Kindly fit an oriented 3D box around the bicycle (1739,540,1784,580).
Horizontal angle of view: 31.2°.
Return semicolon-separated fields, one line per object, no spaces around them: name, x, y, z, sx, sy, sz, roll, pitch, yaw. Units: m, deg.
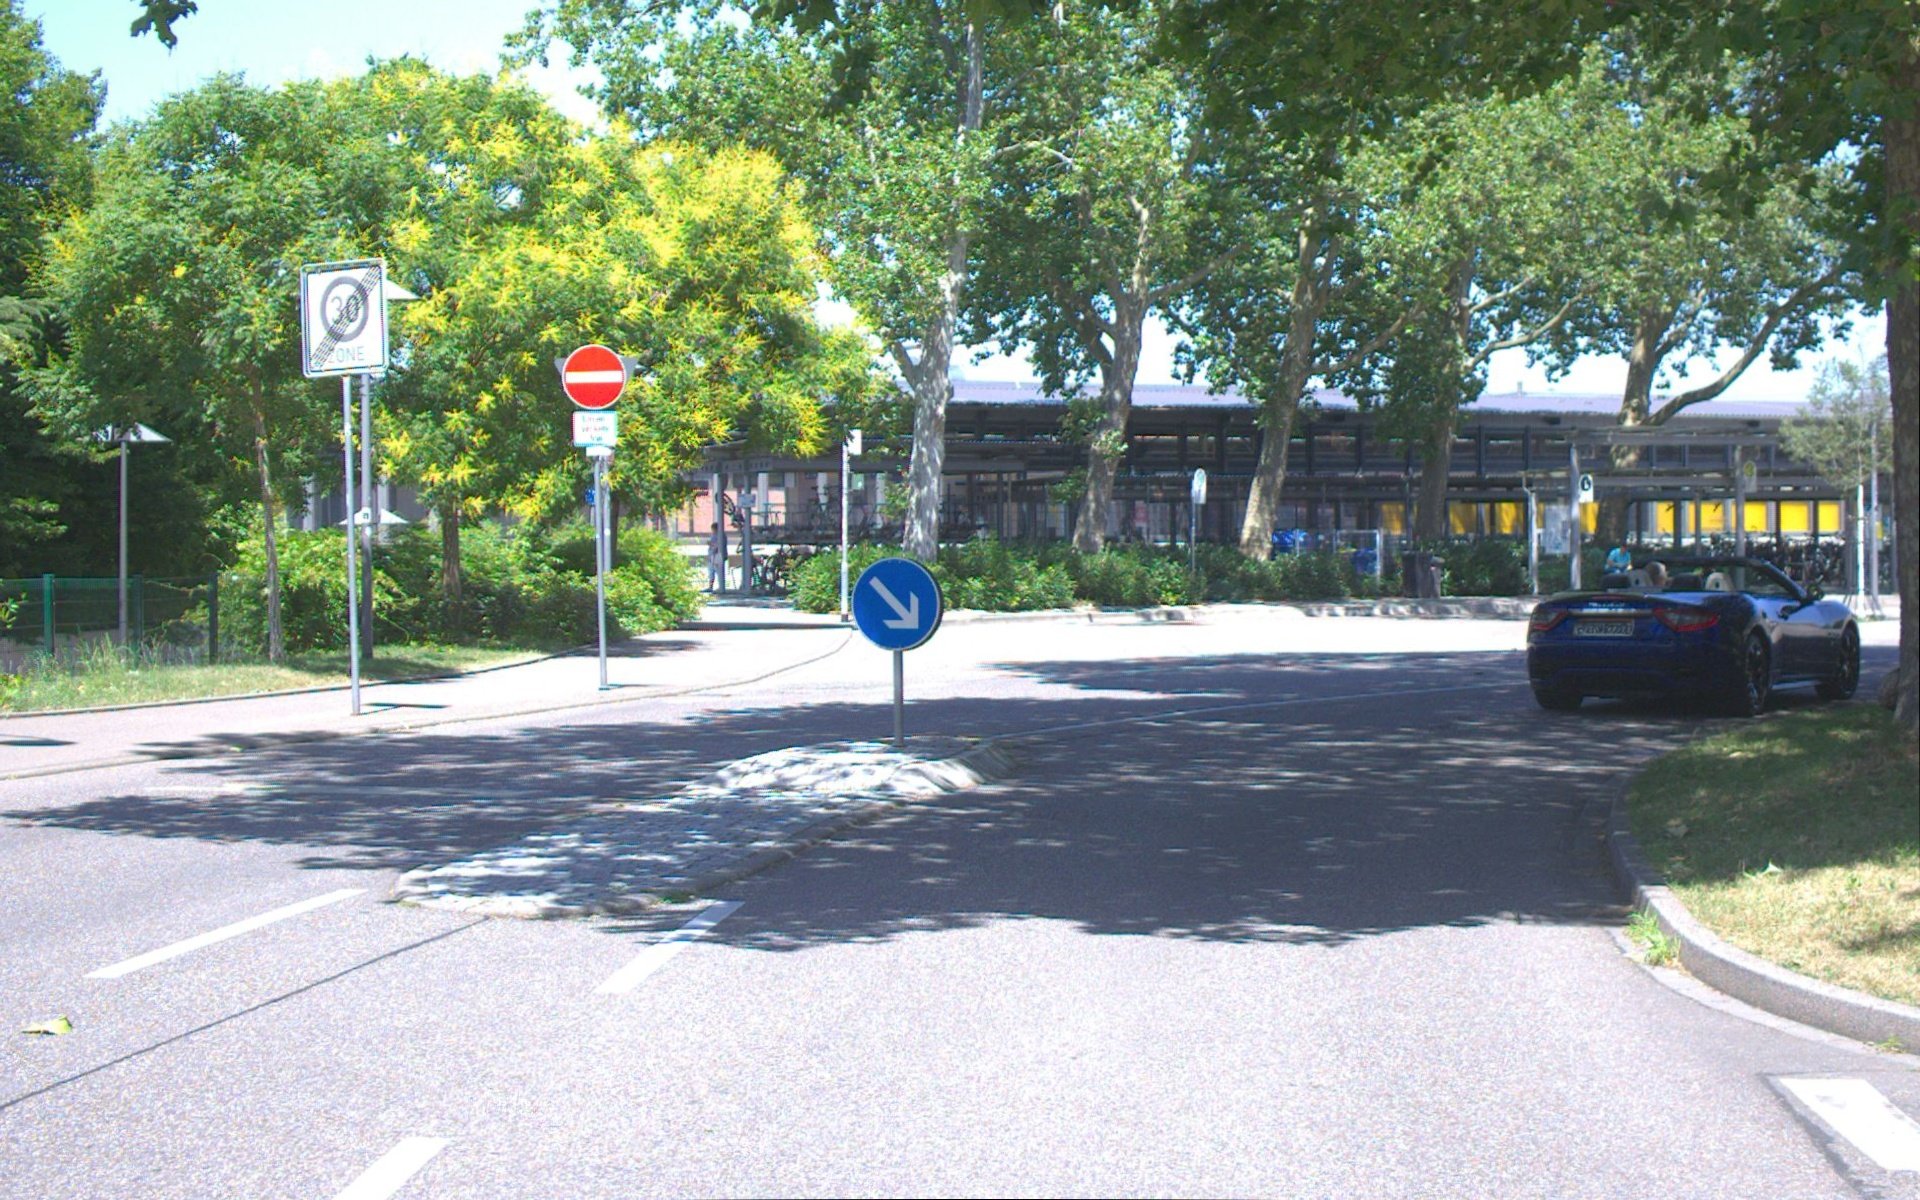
bicycle;22.344;-1.109;95.837;0.385;1.090;1.386;1;0;-28

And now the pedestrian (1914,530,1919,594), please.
pedestrian;24.608;-0.954;86.659;0.821;1.611;0.767;1;2;42

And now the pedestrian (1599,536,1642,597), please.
pedestrian;15.746;-0.801;81.979;0.819;1.458;0.607;-1;1;-32

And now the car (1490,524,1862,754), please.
car;6.316;0.270;29.994;2.128;1.842;4.042;1;1;28

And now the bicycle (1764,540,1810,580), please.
bicycle;22.677;-1.104;94.299;0.385;1.090;1.386;1;0;-27

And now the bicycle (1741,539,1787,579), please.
bicycle;21.930;-1.120;93.769;0.385;1.090;1.386;1;0;-28

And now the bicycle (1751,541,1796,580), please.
bicycle;22.719;-1.100;96.041;0.385;1.090;1.386;1;0;-28

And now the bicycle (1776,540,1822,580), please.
bicycle;23.062;-1.096;94.485;0.385;1.090;1.386;1;0;-28

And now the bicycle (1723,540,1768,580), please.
bicycle;21.833;-1.120;95.565;0.385;1.090;1.386;1;0;-27

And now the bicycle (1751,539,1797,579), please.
bicycle;22.267;-1.113;94.054;0.385;1.090;1.386;1;0;-29
